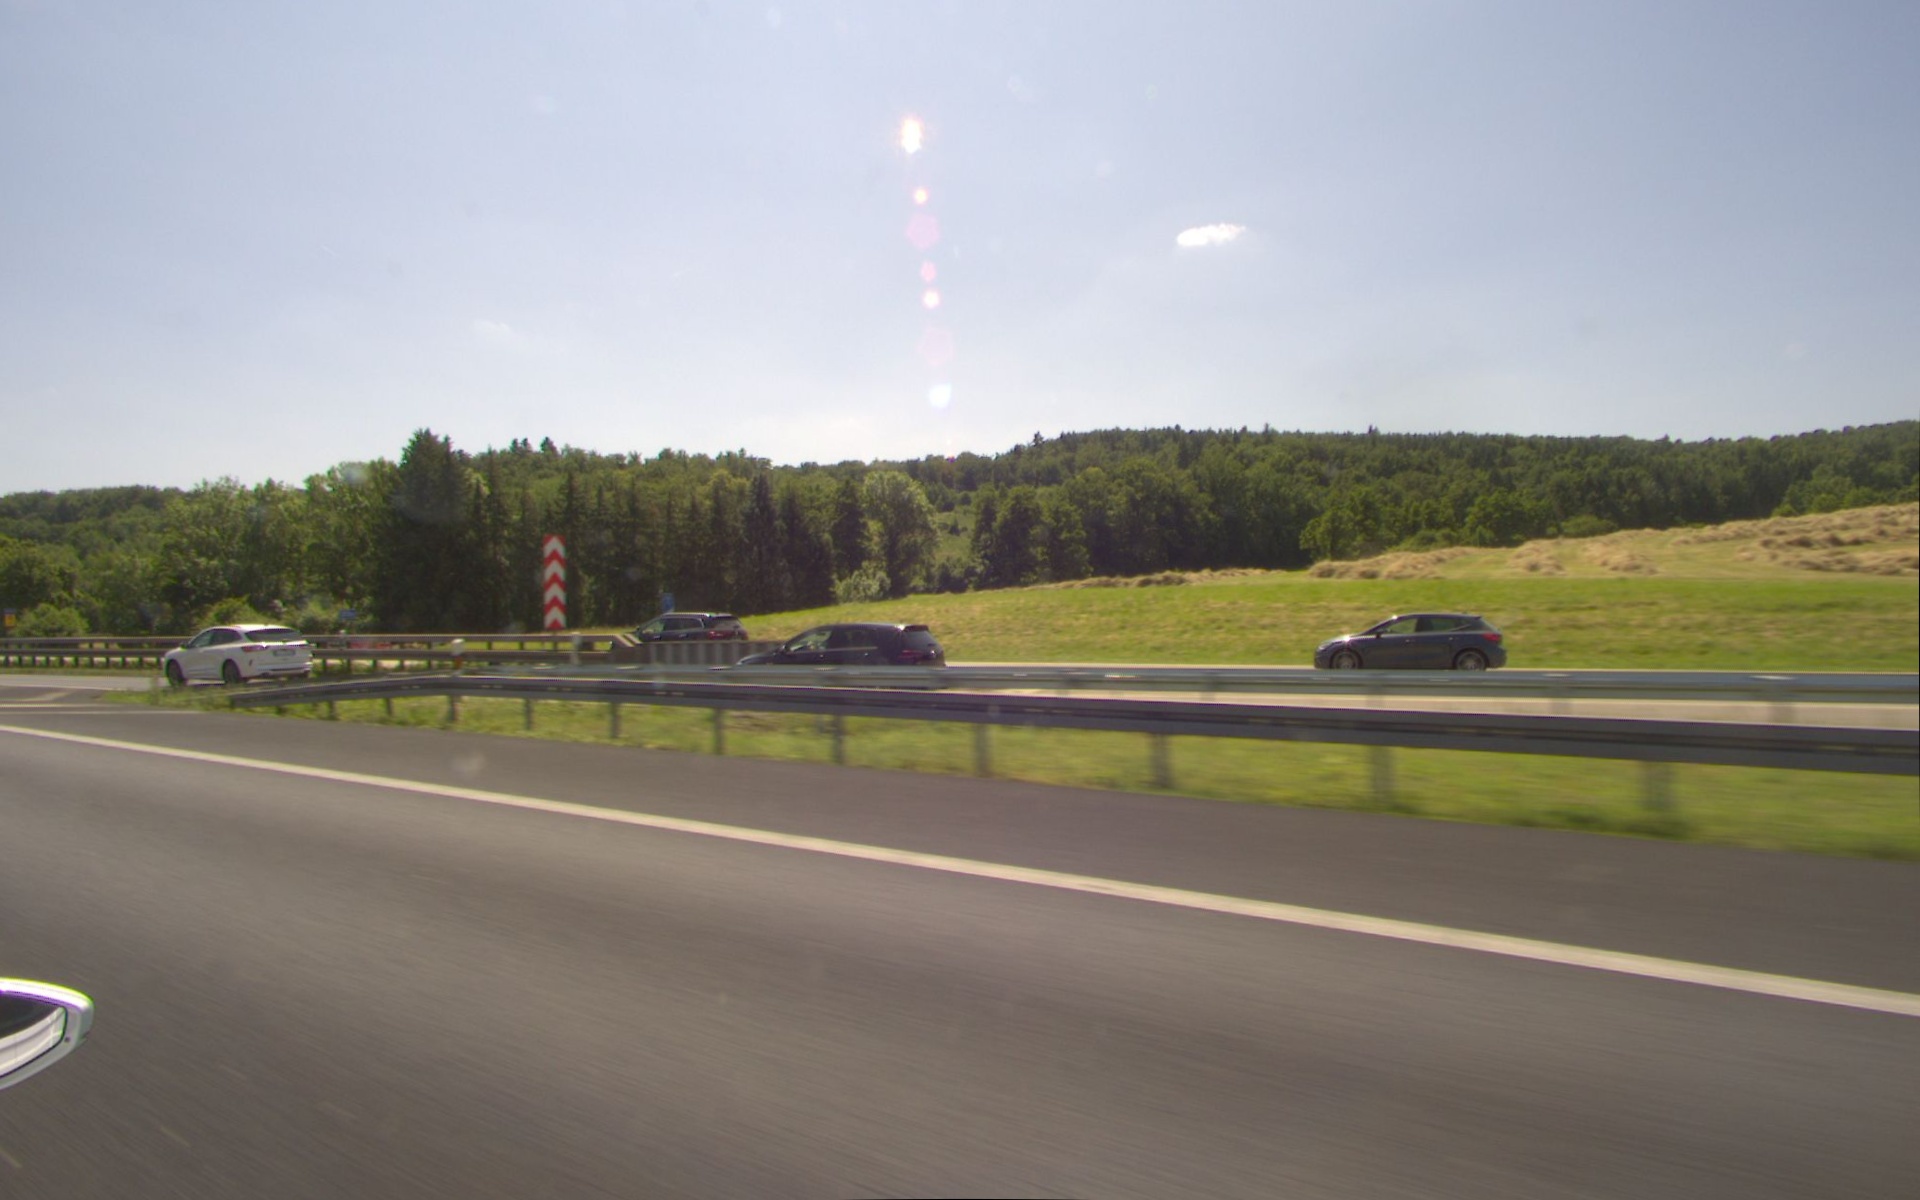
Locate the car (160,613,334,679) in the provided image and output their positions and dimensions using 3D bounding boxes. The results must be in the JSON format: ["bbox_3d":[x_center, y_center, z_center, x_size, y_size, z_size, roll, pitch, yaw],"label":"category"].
[{"bbox_3d":[-19.465,1.252,27.339,4.396,1.683,1.994,-1,-2,26],"label":"car"}]

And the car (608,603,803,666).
[{"bbox_3d":[-7.402,1.029,29.054,5.536,1.683,1.994,-1,-2,26],"label":"car"}]

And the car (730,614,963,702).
[{"bbox_3d":[-2.083,1.036,18.347,3.902,1.453,1.795,-1,-2,26],"label":"car"}]

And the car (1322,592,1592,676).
[{"bbox_3d":[10.901,0.774,22.243,5.149,1.683,1.992,-1,-2,29],"label":"car"}]
